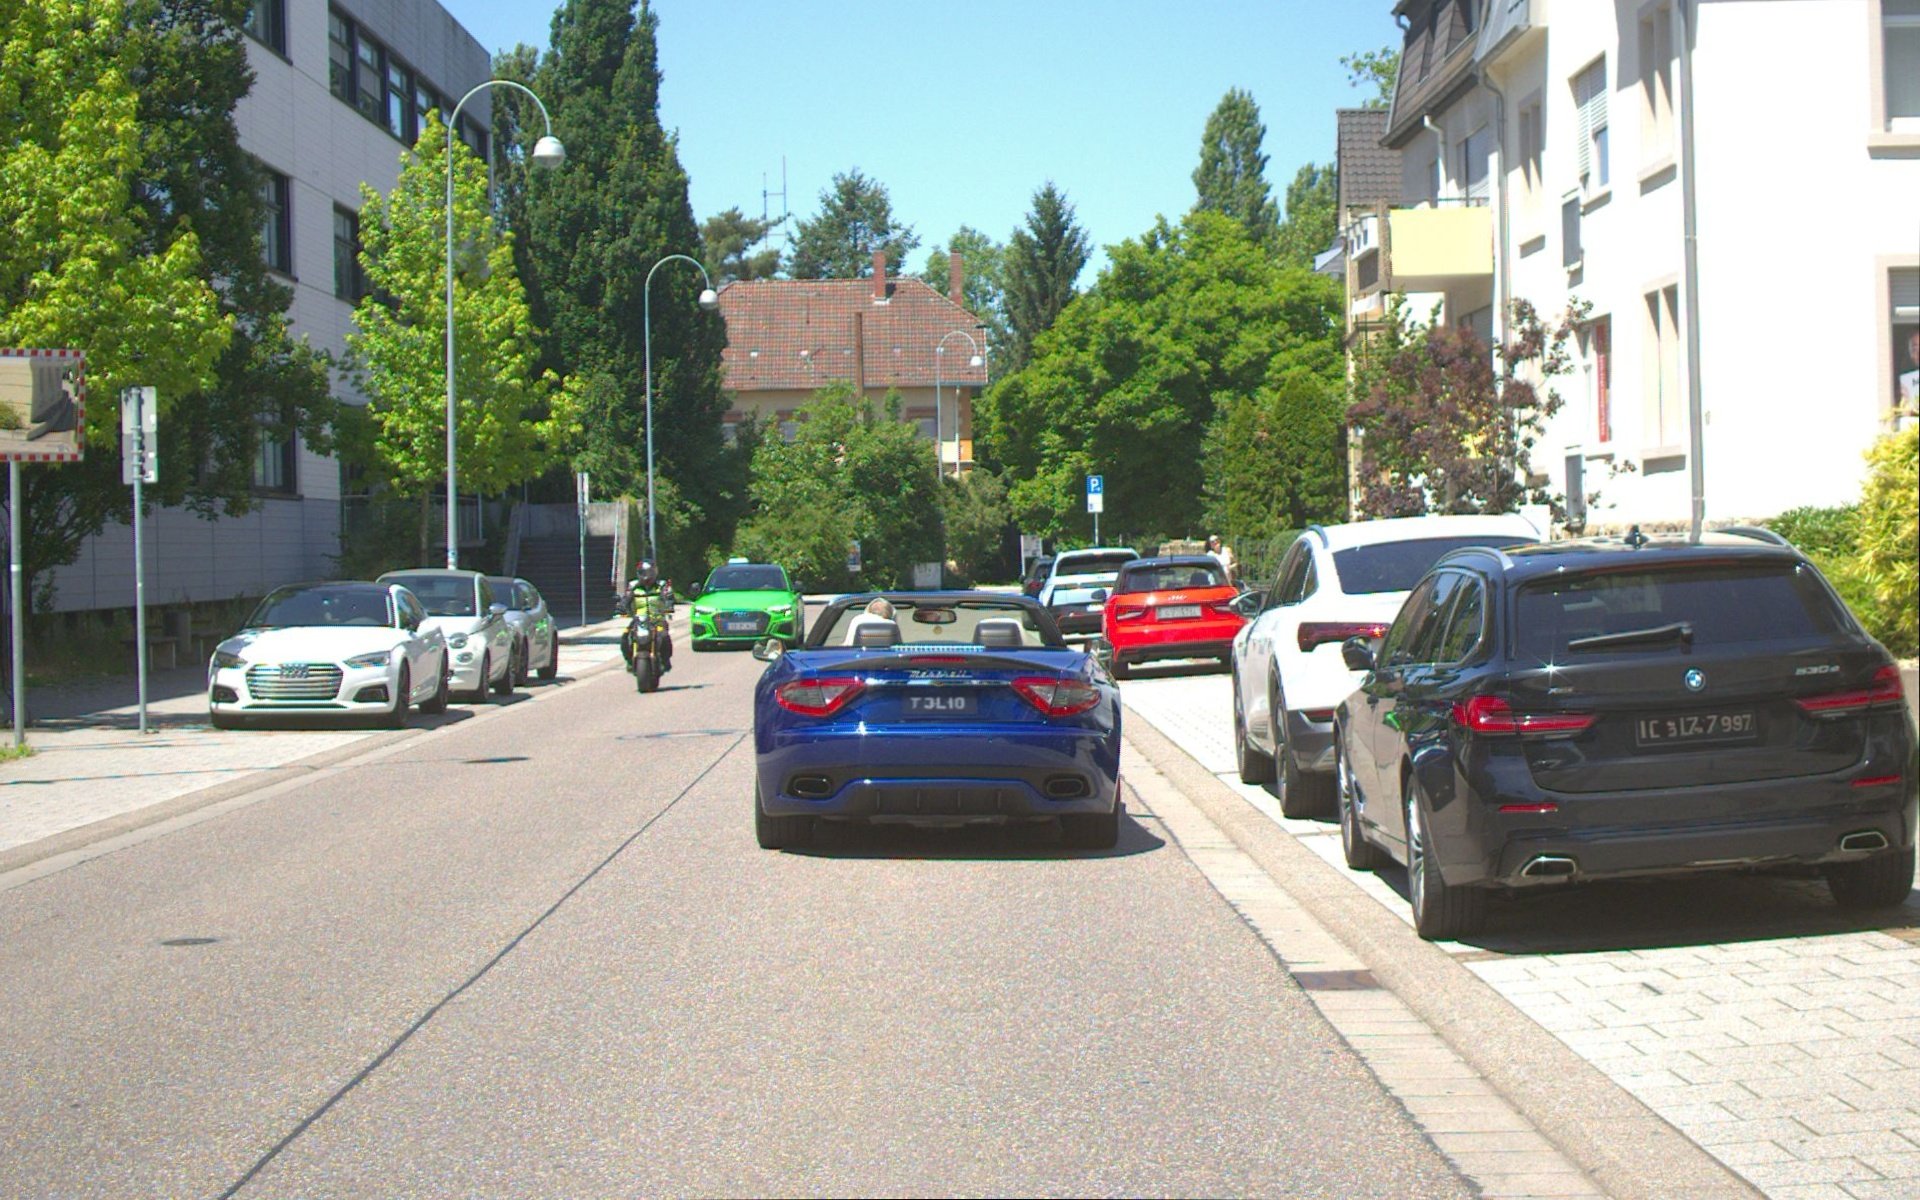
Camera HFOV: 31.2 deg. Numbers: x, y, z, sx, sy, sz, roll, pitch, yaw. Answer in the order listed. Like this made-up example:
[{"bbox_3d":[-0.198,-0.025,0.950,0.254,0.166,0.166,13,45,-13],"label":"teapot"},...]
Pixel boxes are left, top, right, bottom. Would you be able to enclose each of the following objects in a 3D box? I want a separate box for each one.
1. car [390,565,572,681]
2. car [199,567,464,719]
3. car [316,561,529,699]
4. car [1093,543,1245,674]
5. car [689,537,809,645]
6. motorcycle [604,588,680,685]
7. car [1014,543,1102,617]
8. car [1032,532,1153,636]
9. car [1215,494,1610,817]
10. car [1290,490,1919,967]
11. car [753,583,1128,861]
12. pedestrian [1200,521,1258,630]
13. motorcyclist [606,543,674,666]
[{"bbox_3d":[-6.225,0.268,45.043,1.748,1.404,3.933,-1,1,1],"label":"car"},{"bbox_3d":[-6.227,0.384,34.532,1.822,1.406,4.577,0,1,0],"label":"car"},{"bbox_3d":[-6.223,0.312,40.238,1.822,1.507,4.289,-1,1,0],"label":"car"},{"bbox_3d":[2.518,0.070,42.110,1.603,1.436,3.853,-4,1,1],"label":"car"},{"bbox_3d":[-3.587,-0.184,59.050,1.822,1.583,4.101,-2,3,-1],"label":"car"},{"bbox_3d":[-3.824,0.429,41.455,0.699,1.103,1.790,-3,1,0],"label":"motorcycle"},{"bbox_3d":[2.068,-0.452,73.405,1.631,1.441,4.398,-4,1,0],"label":"car"},{"bbox_3d":[2.237,-0.296,58.869,1.843,1.614,4.427,-3,1,0],"label":"car"},{"bbox_3d":[2.583,0.263,20.614,1.705,1.660,4.580,-2,1,0],"label":"car"},{"bbox_3d":[2.521,0.416,14.456,1.705,1.551,4.748,-4,1,0],"label":"car"},{"bbox_3d":[-0.106,0.584,19.124,1.826,1.332,4.700,0,0,0],"label":"car"},{"bbox_3d":[4.260,-0.386,54.407,0.740,1.664,0.706,-4,1,-1],"label":"pedestrian"},{"bbox_3d":[-3.838,0.047,41.266,0.699,1.428,0.707,-3,0,0],"label":"motorcyclist"}]
